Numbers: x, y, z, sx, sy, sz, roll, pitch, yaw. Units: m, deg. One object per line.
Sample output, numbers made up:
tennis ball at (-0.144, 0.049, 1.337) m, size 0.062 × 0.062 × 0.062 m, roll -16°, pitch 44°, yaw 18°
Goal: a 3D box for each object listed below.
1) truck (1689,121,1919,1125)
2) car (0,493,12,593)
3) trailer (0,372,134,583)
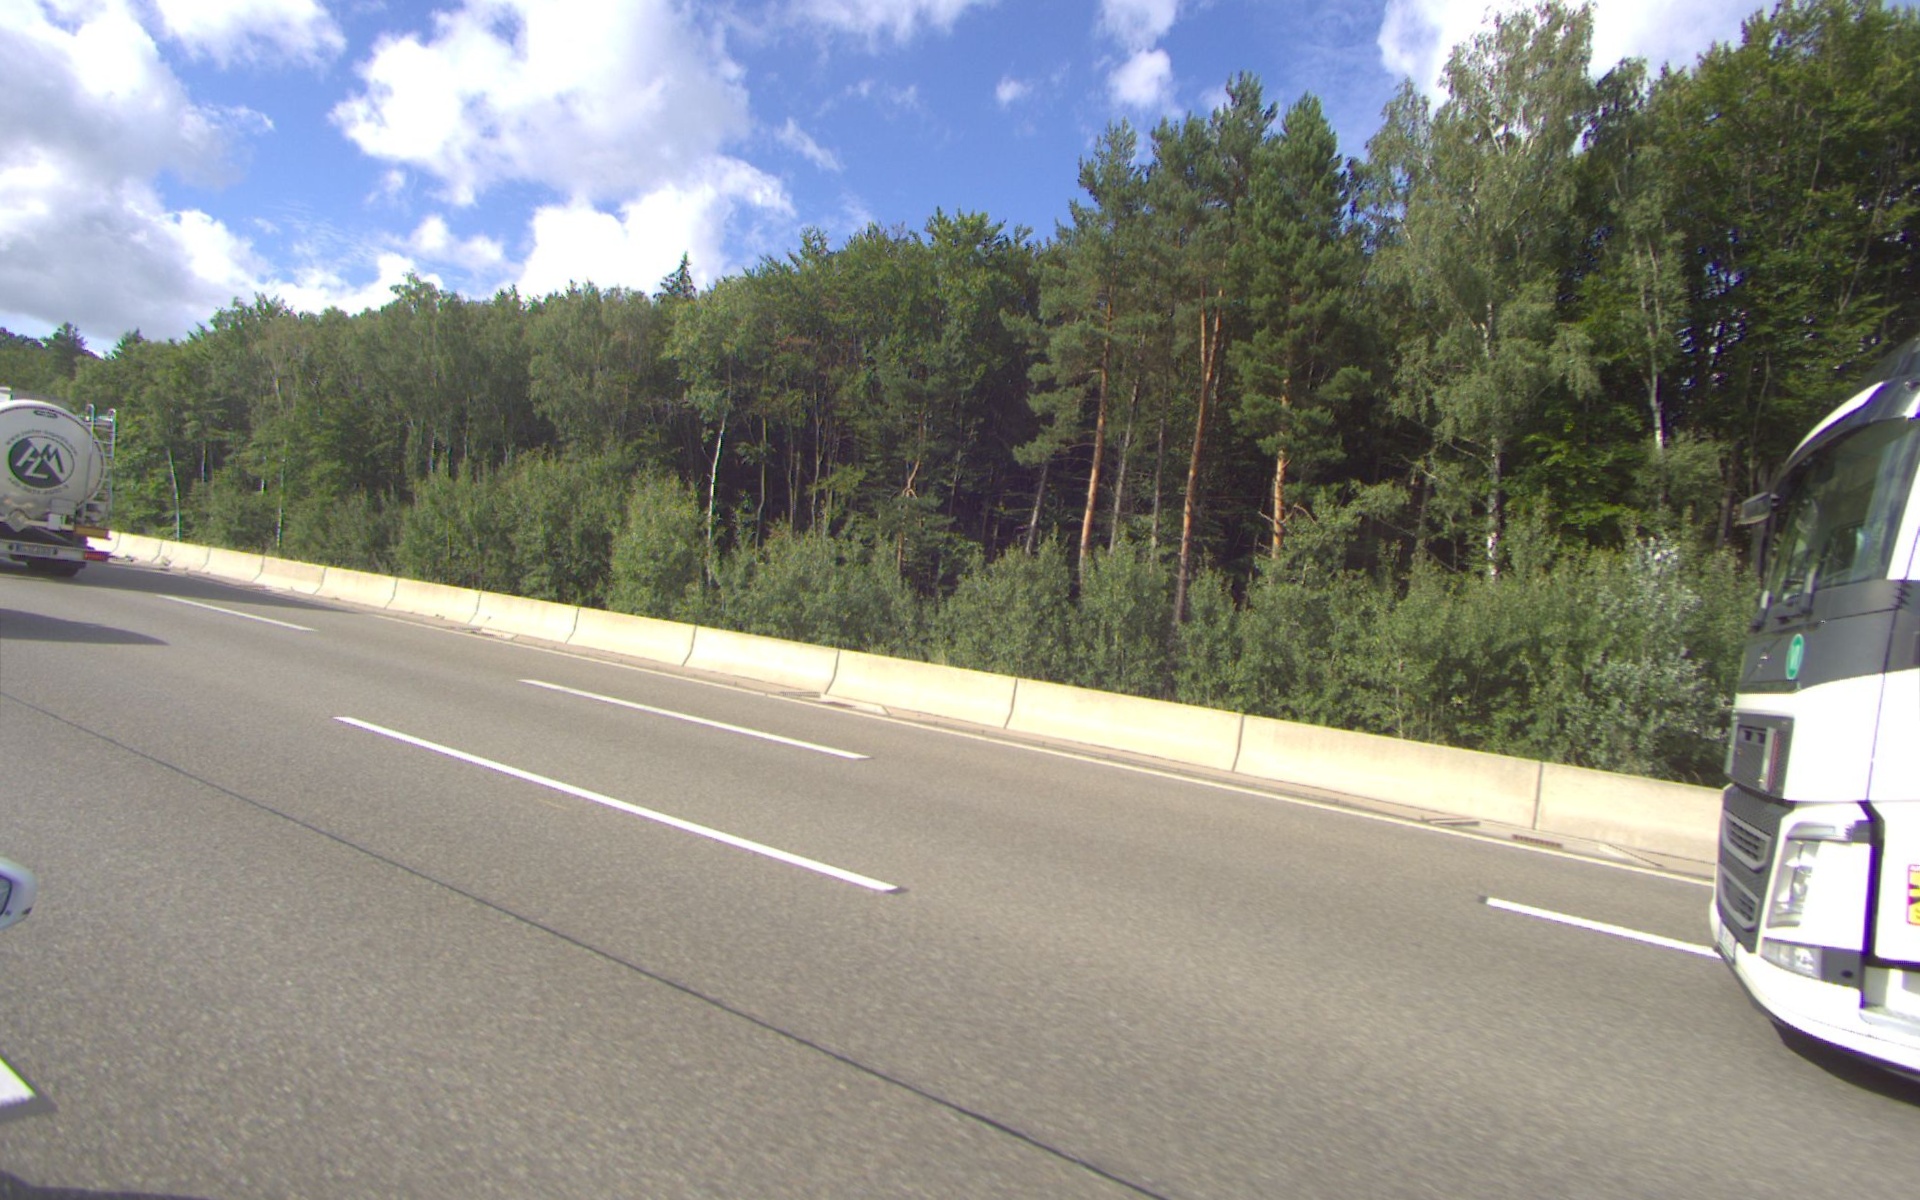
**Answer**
truck at (6.789, 0.429, 3.982) m, size 5.677 × 4.093 × 2.779 m, roll 7°, pitch -1°, yaw 31°
car at (-12.956, -0.710, 11.624) m, size 4.384 × 1.548 × 1.776 m, roll 7°, pitch -1°, yaw 32°
trailer at (-22.731, -2.919, 22.776) m, size 11.668 × 3.813 × 2.651 m, roll 7°, pitch 0°, yaw 33°
